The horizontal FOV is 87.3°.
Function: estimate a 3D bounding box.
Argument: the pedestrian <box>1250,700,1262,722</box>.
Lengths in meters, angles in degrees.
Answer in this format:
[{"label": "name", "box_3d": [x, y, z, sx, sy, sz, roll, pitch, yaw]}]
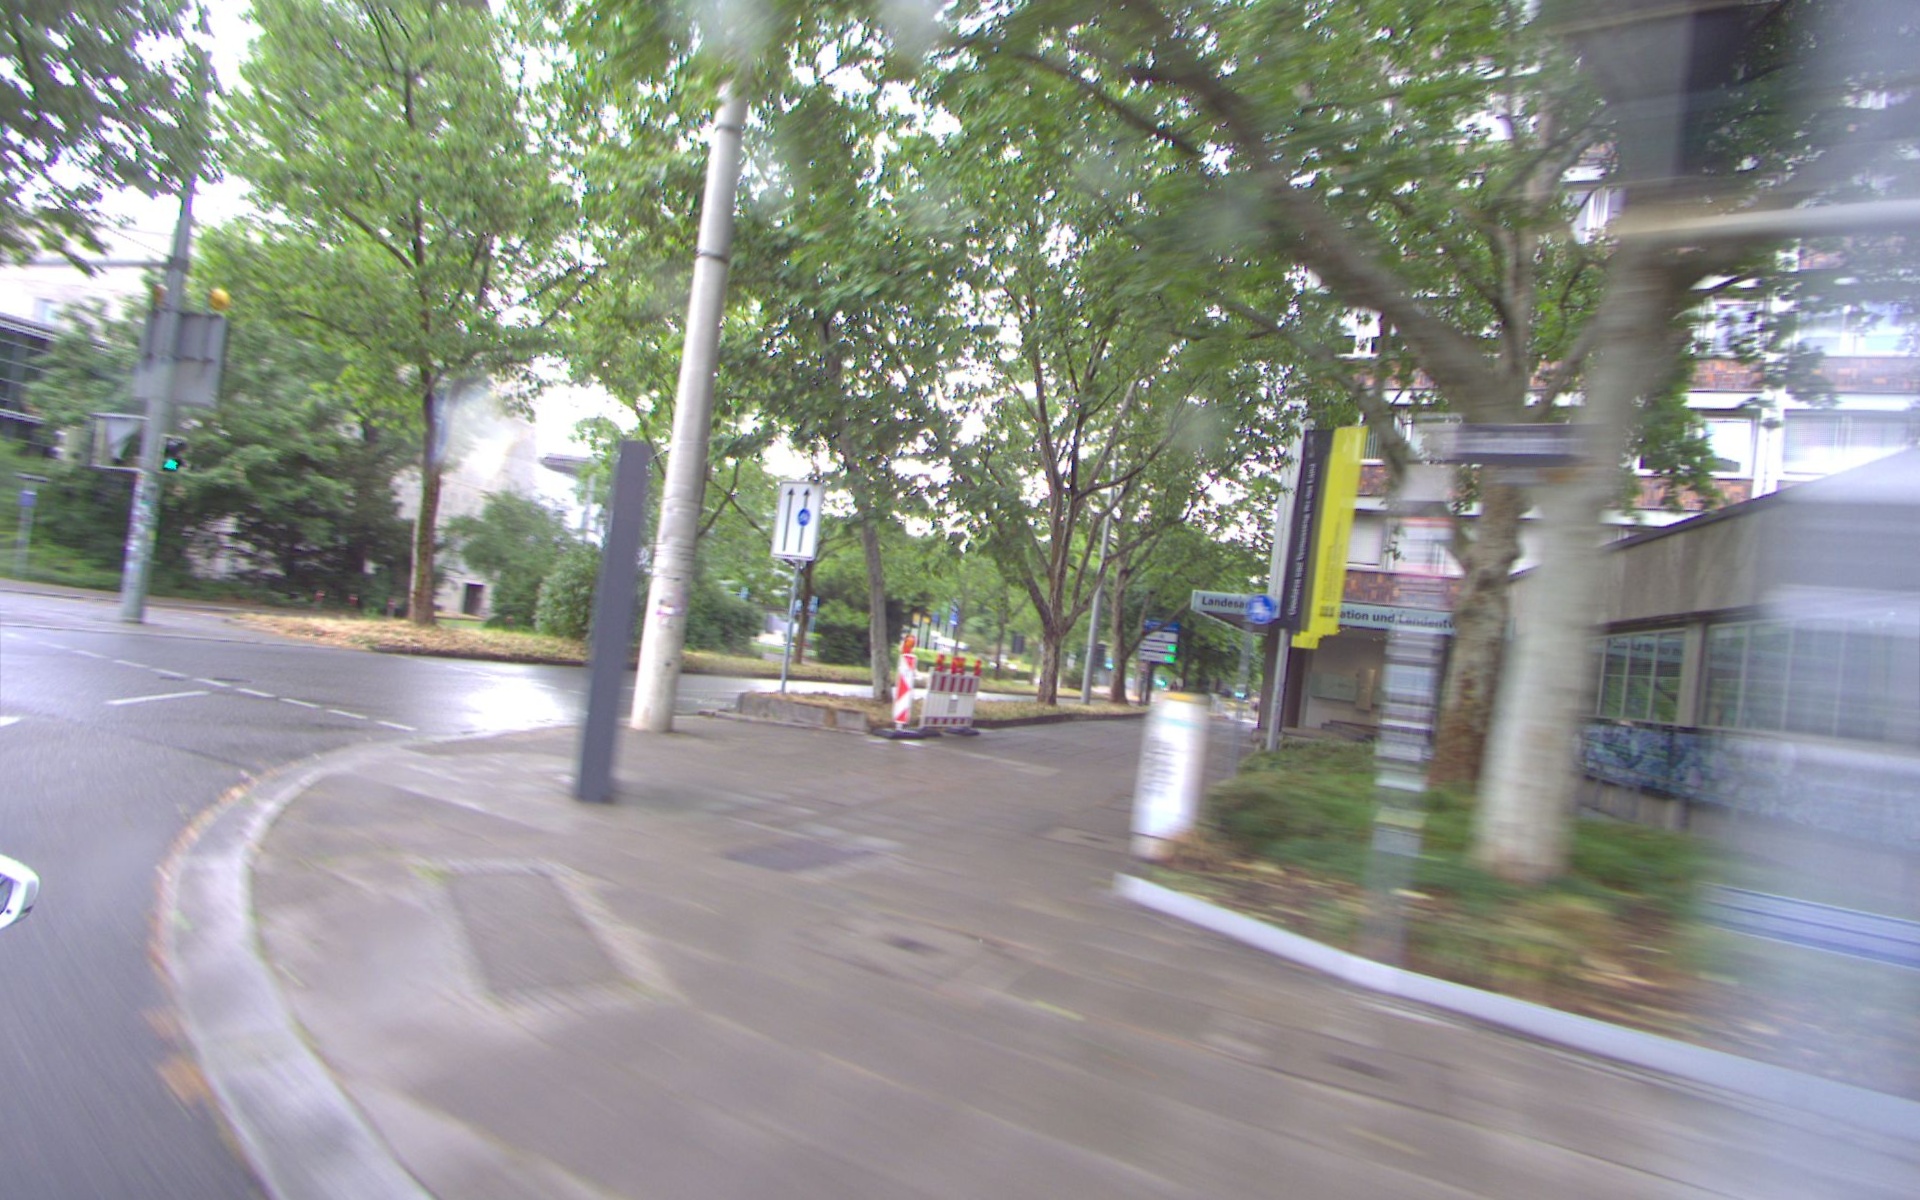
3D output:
[{"label": "pedestrian", "box_3d": [24.215, 9.068, 82.331, 0.692, 1.657, 0.936, 7, -2, 18]}]

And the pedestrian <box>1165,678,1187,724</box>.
[{"label": "pedestrian", "box_3d": [8.181, 3.829, 38.022, 0.512, 1.657, 0.936, 7, -2, 18]}]
